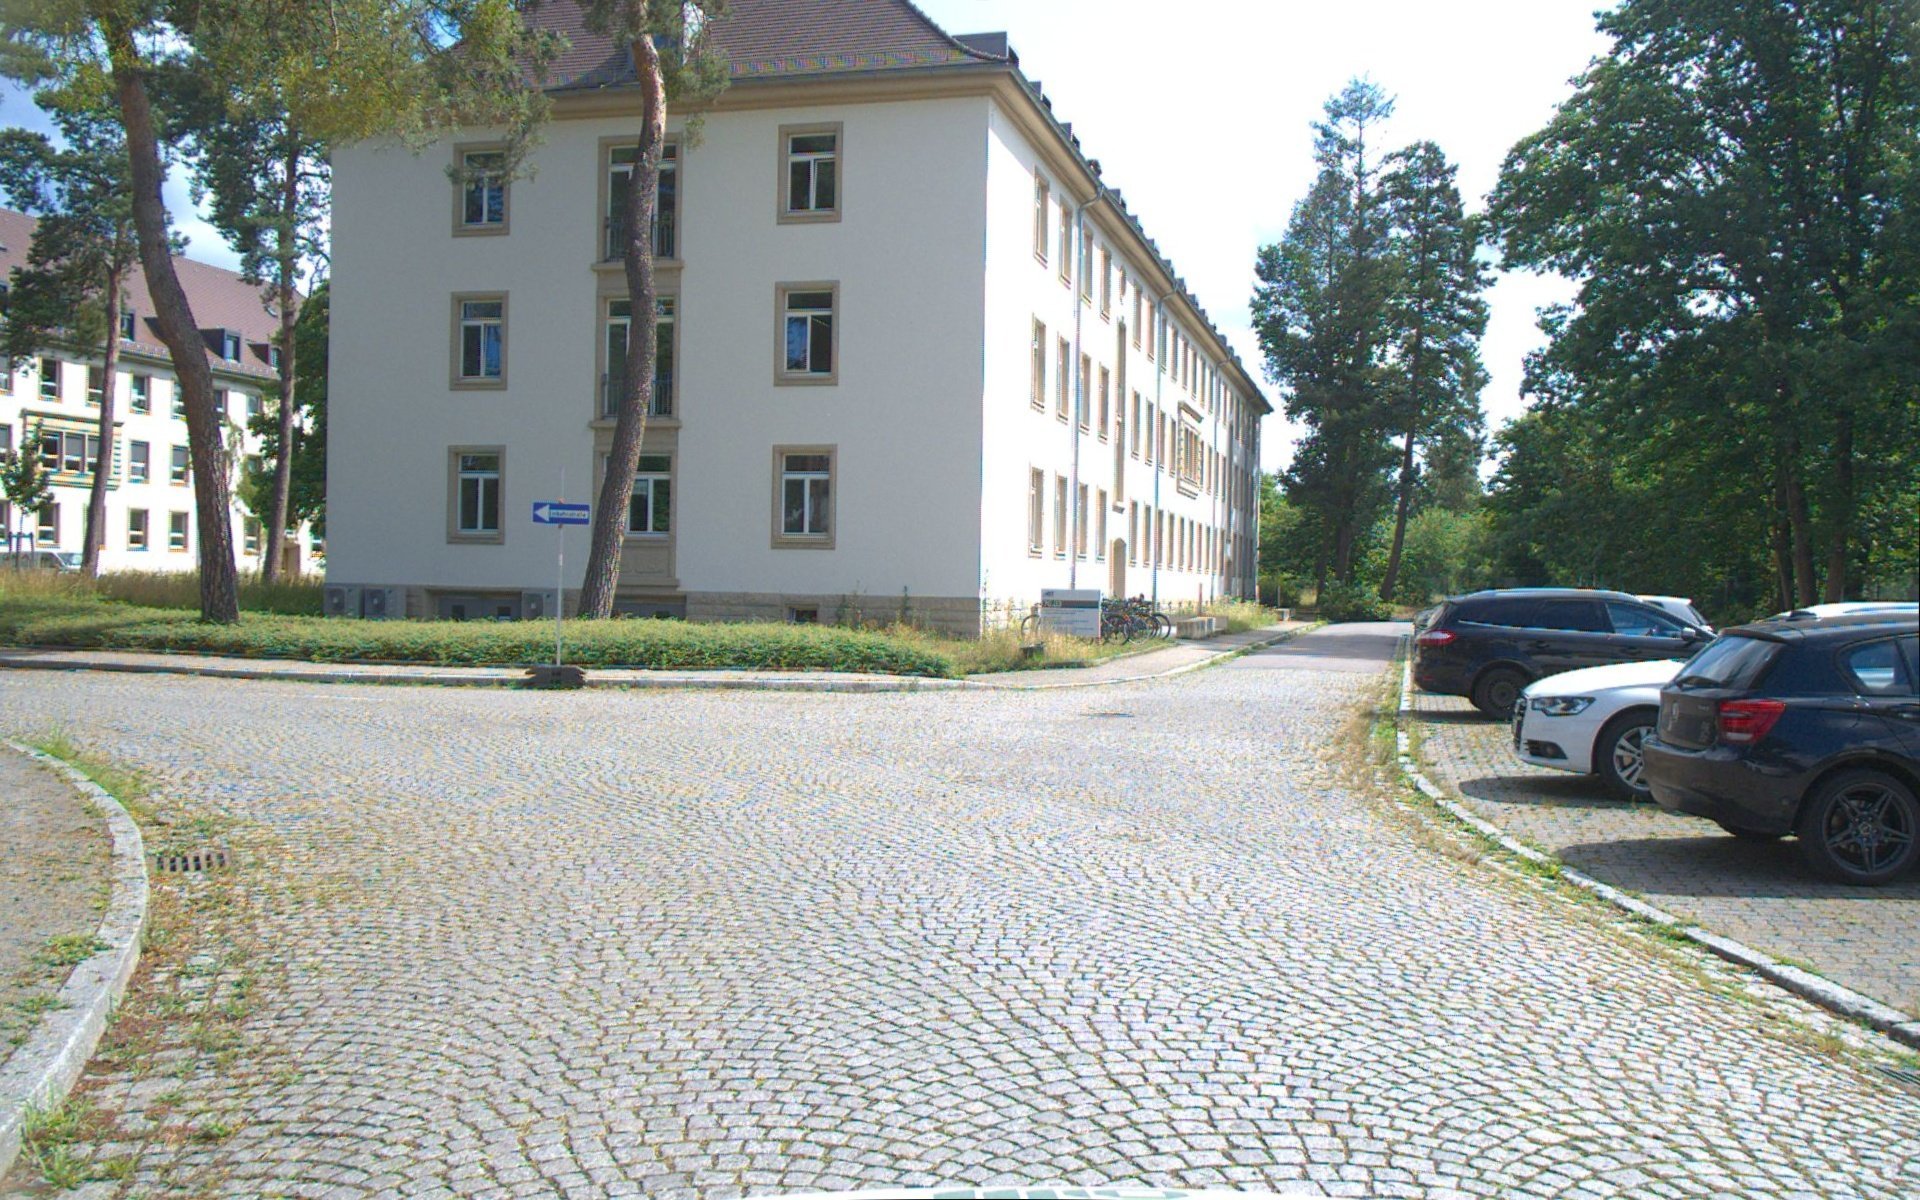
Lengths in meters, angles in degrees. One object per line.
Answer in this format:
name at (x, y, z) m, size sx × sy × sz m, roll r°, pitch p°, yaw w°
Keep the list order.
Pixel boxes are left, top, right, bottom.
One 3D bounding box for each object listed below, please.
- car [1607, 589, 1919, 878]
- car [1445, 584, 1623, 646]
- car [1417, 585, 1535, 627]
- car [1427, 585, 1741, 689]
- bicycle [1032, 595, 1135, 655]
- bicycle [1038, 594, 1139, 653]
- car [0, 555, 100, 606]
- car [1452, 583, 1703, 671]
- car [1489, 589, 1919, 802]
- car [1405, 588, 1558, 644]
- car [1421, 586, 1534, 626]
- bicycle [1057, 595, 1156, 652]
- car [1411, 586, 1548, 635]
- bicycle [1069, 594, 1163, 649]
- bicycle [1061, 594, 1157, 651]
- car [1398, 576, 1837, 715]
car at (6.264, 0.708, 9.722) m, size 4.233 × 1.526 × 1.831 m, roll -1°, pitch 1°, yaw 5°
car at (14.505, 0.388, 41.999) m, size 4.176 × 1.510 × 1.821 m, roll 0°, pitch -1°, yaw 17°
car at (18.996, 0.233, 61.009) m, size 4.098 × 1.510 × 1.821 m, roll 0°, pitch -1°, yaw 17°
car at (9.423, 0.555, 25.320) m, size 4.304 × 1.510 × 1.767 m, roll 0°, pitch -1°, yaw 14°
bicycle at (2.728, 0.532, 36.534) m, size 2.176 × 1.282 × 0.623 m, roll 1°, pitch 0°, yaw 22°
bicycle at (2.910, 0.523, 37.376) m, size 2.175 × 1.282 × 0.623 m, roll 1°, pitch 0°, yaw 17°
car at (-37.172, -0.797, 67.047) m, size 3.973 × 2.026 × 1.714 m, roll 1°, pitch 0°, yaw 16°
car at (11.015, 0.486, 29.804) m, size 4.118 × 1.510 × 1.821 m, roll 0°, pitch -1°, yaw 17°
car at (6.695, 0.684, 12.901) m, size 4.758 × 1.498 × 1.876 m, roll 0°, pitch 1°, yaw 14°
car at (14.929, 0.467, 47.484) m, size 4.098 × 1.570 × 1.821 m, roll 0°, pitch -1°, yaw 17°
car at (19.911, 0.228, 63.754) m, size 4.098 × 1.510 × 1.821 m, roll 0°, pitch -1°, yaw 17°
bicycle at (3.369, 0.529, 38.164) m, size 2.176 × 1.282 × 0.623 m, roll 1°, pitch 0°, yaw 22°
car at (16.577, 0.351, 52.935) m, size 4.098 × 1.510 × 1.821 m, roll 0°, pitch -1°, yaw 17°
bicycle at (3.765, 0.516, 40.049) m, size 2.175 × 1.282 × 0.623 m, roll 1°, pitch 0°, yaw 17°
bicycle at (3.526, 0.519, 39.068) m, size 2.175 × 1.282 × 0.623 m, roll 1°, pitch 0°, yaw 17°
car at (7.840, 0.537, 20.205) m, size 4.749 × 1.580 × 1.881 m, roll 0°, pitch -1°, yaw 14°
